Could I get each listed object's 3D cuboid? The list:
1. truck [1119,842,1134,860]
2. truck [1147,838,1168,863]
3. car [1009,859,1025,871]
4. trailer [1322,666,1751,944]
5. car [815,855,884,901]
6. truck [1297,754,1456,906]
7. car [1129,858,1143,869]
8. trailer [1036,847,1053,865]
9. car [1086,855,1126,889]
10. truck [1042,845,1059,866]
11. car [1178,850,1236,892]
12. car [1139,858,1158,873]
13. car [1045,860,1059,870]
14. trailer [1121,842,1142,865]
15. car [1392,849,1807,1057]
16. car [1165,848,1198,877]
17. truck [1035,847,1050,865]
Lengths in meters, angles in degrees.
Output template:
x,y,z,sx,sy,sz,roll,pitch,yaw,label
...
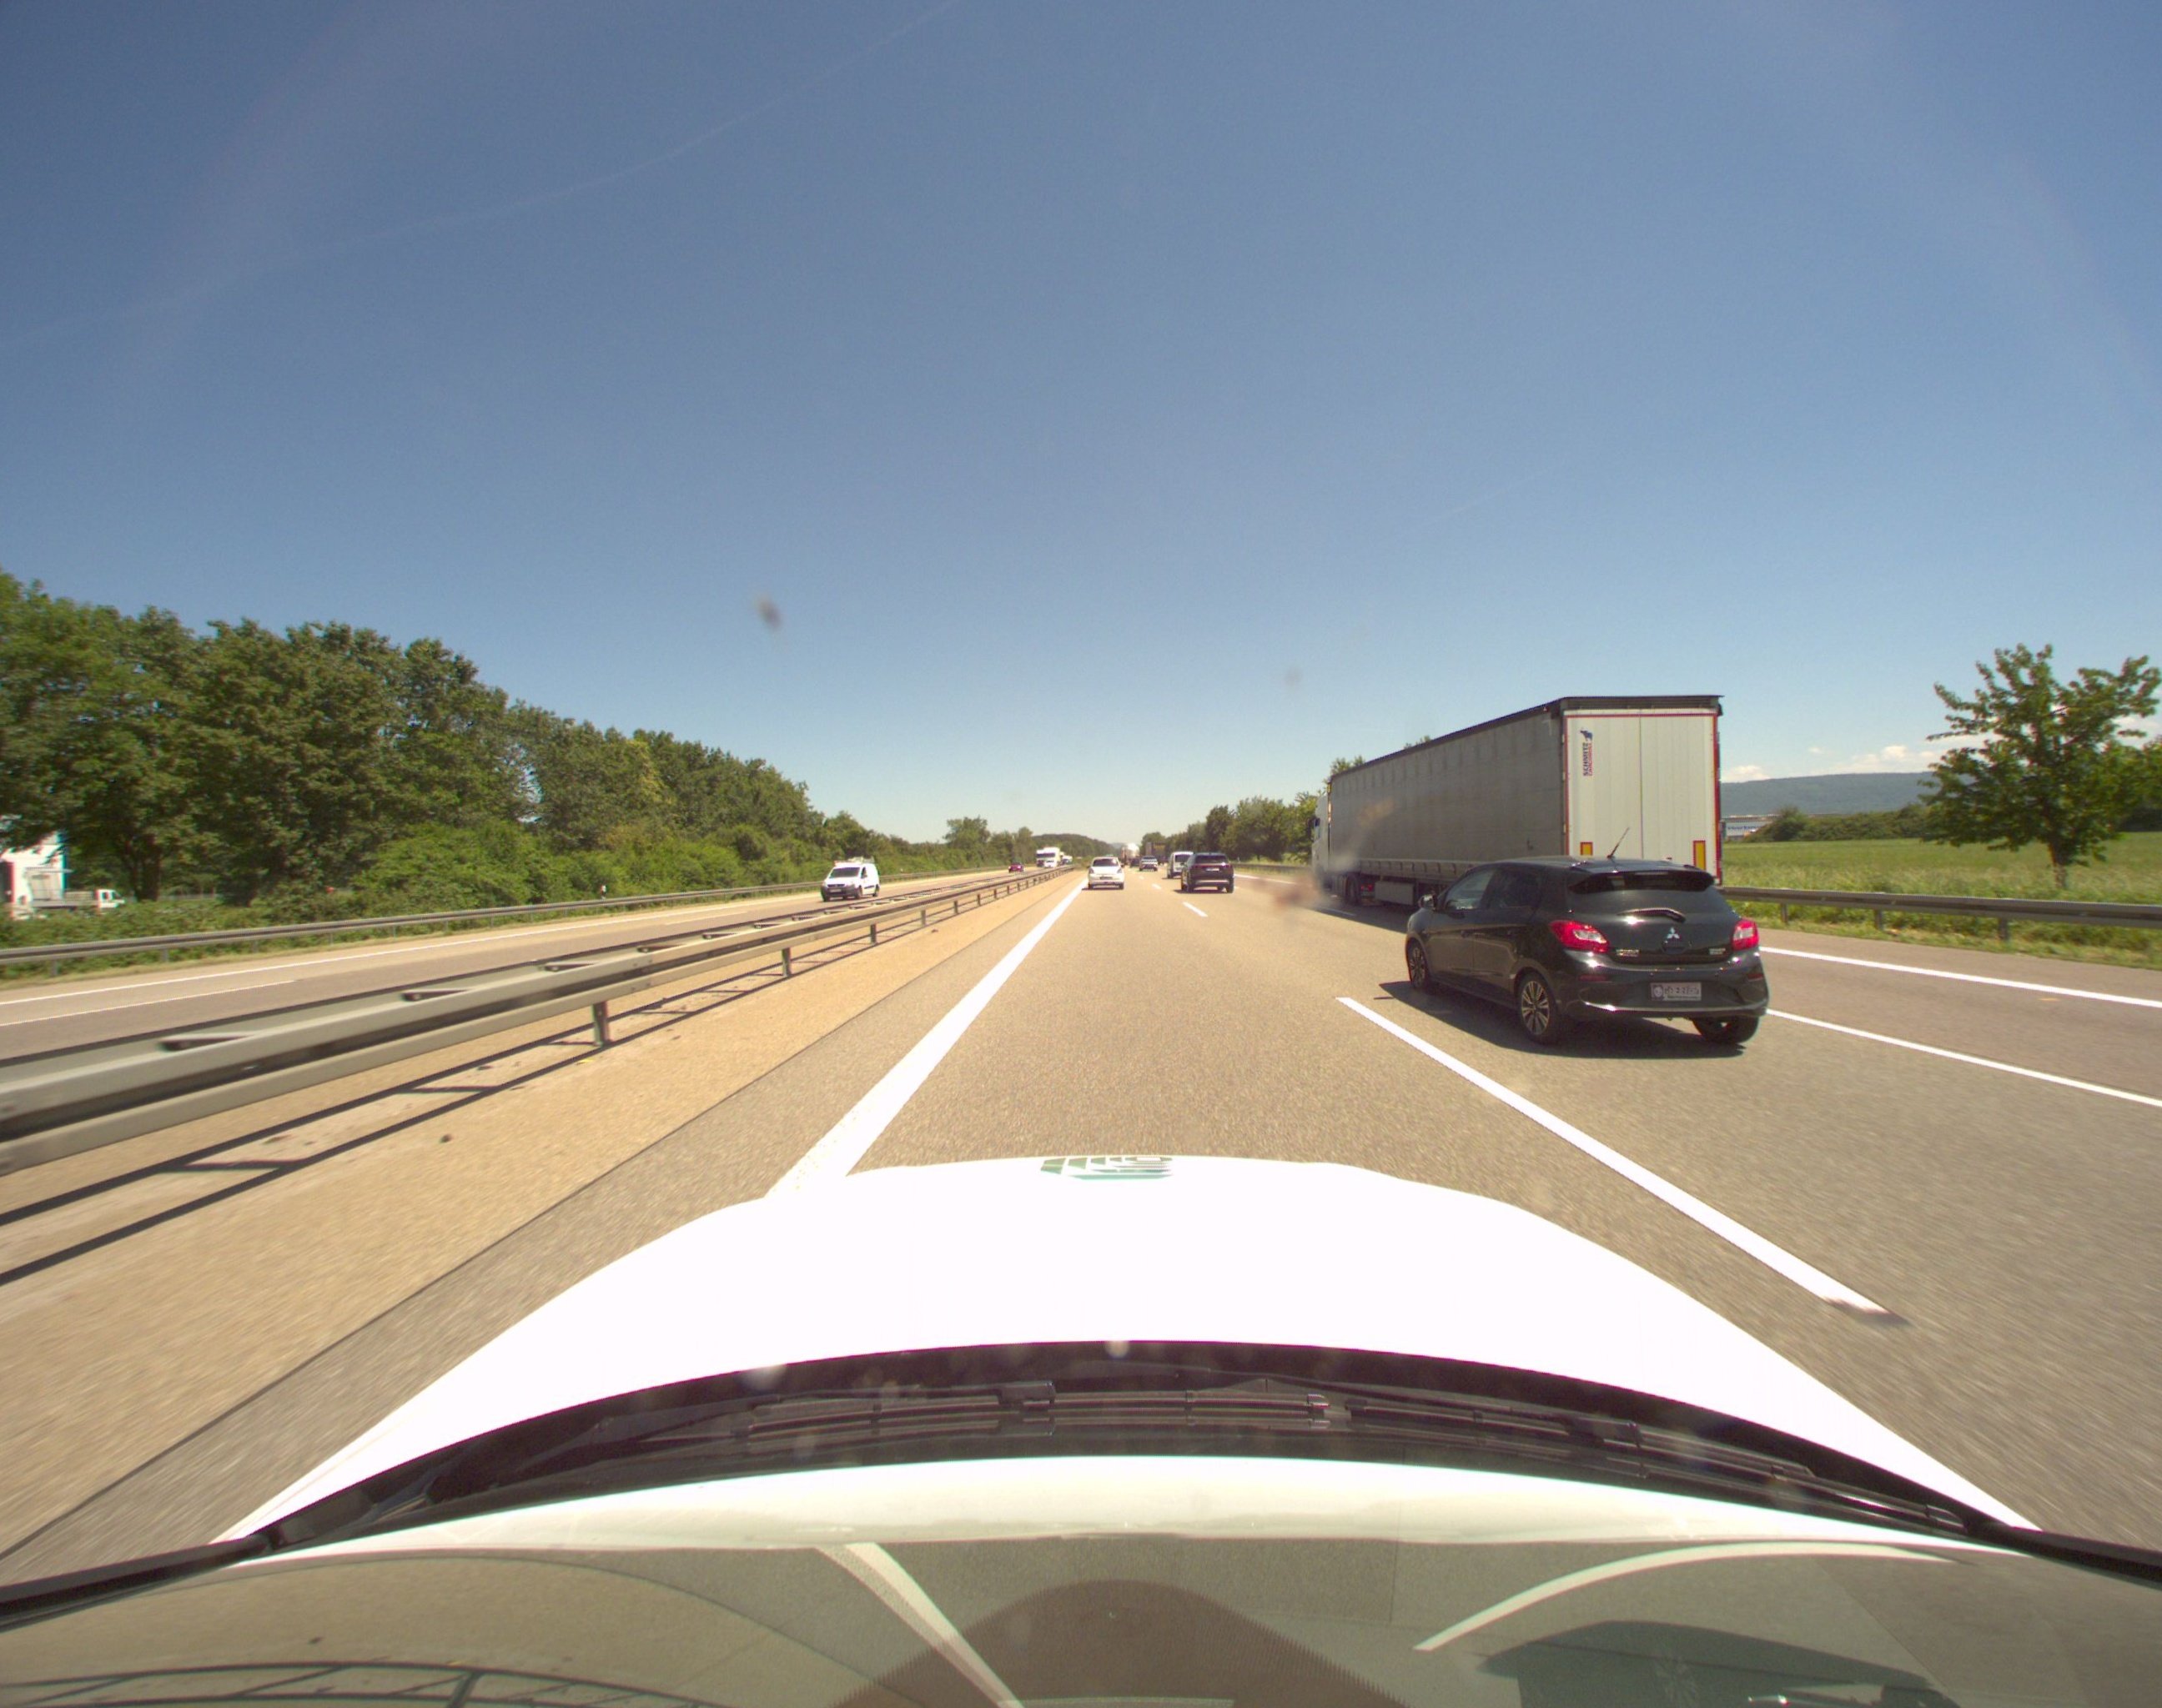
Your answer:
x,y,z,sx,sy,sz,roll,pitch,yaw,label
10.749,-0.604,192.572,3.380,4.214,12.092,0,0,3,truck
13.815,-0.541,147.620,3.096,4.139,15.523,0,0,3,truck
-8.789,1.486,111.863,1.766,1.417,4.111,-4,0,1,car
9.145,-0.711,19.741,2.799,4.304,14.259,0,0,2,trailer
-11.198,1.139,39.715,1.781,2.013,4.383,-4,-1,3,car
9.373,-0.661,26.787,2.799,4.304,7.195,0,-1,2,truck
7.662,1.297,114.442,1.843,1.523,3.959,0,0,2,car
-9.004,0.585,201.238,2.746,4.103,14.061,-4,-1,3,trailer
1.191,0.830,39.056,1.792,1.552,3.611,0,0,1,car
-6.345,0.372,170.068,2.728,4.085,6.222,-3,-1,3,truck
5.310,0.704,34.913,1.860,1.675,4.747,0,0,1,car
7.178,1.230,86.689,1.795,1.603,4.383,0,0,2,car
-4.293,1.586,120.515,1.713,1.422,3.898,-4,-1,1,car
9.197,-0.060,149.735,2.903,4.069,12.411,0,0,-1,trailer
4.348,0.718,7.518,1.681,1.473,3.433,0,0,1,car
6.912,0.584,56.387,1.846,1.863,4.703,0,0,1,car
-9.282,0.546,194.830,2.746,4.103,6.156,-4,-1,2,truck
